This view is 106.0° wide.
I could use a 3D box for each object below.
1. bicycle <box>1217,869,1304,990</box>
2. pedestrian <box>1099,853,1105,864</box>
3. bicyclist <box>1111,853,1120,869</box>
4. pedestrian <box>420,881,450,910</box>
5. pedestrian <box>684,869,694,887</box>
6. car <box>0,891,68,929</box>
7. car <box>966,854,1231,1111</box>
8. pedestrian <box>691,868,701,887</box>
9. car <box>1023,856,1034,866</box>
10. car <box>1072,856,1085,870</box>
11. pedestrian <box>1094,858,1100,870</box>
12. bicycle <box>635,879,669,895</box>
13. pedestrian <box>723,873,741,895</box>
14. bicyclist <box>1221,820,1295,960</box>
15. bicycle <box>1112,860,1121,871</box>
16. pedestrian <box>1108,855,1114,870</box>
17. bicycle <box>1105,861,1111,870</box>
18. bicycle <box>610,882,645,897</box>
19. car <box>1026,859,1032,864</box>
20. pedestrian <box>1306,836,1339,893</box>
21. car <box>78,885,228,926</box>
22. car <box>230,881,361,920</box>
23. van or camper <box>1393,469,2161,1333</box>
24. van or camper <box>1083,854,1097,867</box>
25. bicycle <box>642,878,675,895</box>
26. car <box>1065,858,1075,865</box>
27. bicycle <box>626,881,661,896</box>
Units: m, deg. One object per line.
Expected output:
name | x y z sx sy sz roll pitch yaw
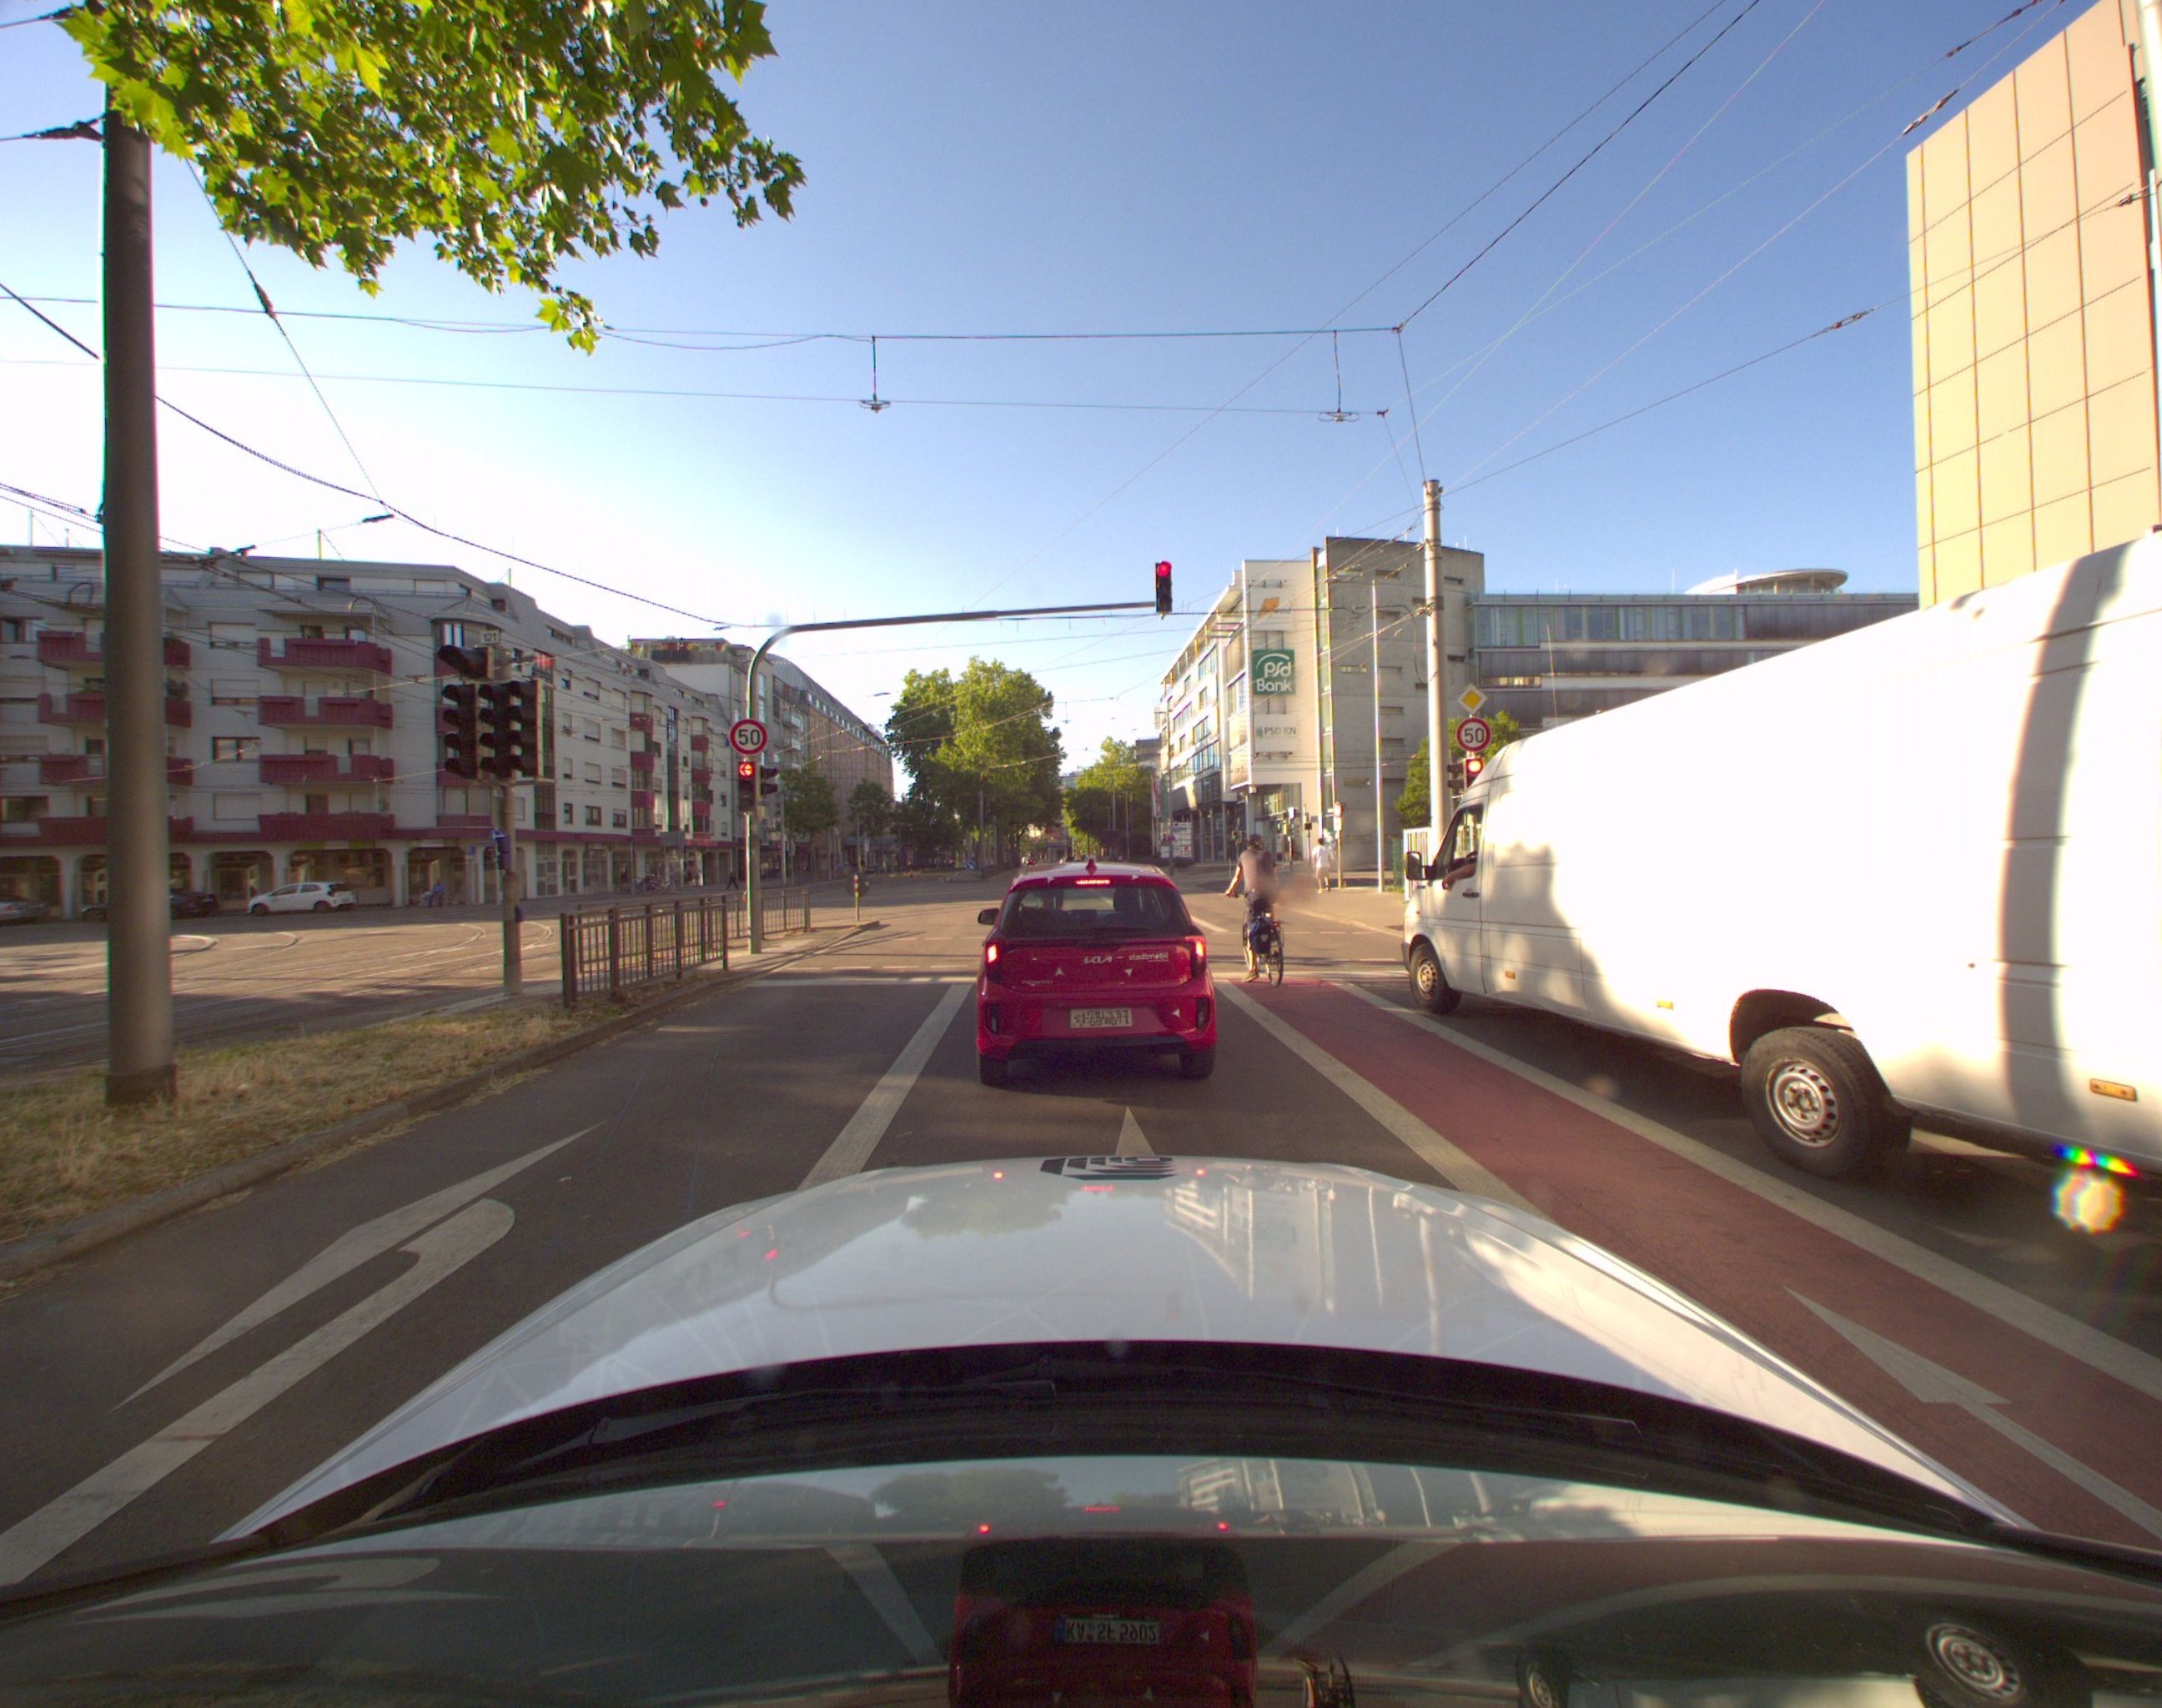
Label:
bicycle | 2.145 0.852 9.984 0.647 1.281 1.967 -2 0 2
pedestrian | 3.436 0.756 131.150 0.888 1.753 0.841 -2 0 1
bicyclist | 3.660 0.737 85.779 0.720 1.603 1.087 -4 0 -4
pedestrian | -32.441 2.052 40.901 0.857 1.384 0.833 -2 0 -14
pedestrian | -31.754 1.937 65.925 0.533 1.494 0.586 -2 0 -6
car | -48.595 2.545 35.945 4.572 1.555 1.992 -2 0 -12
car | 0.036 0.784 6.702 1.609 1.535 3.408 -1 0 -3
pedestrian | -31.180 1.933 66.008 0.533 1.494 0.586 -2 0 -6
car | -11.348 1.577 175.997 1.991 2.013 3.992 -2 0 -6
car | -0.315 1.148 105.143 1.631 1.800 3.328 -2 0 -1
pedestrian | 2.246 1.349 113.059 0.638 1.579 0.725 -5 0 11
bicycle | -27.791 2.149 52.819 1.840 0.985 0.552 -2 0 -6
pedestrian | -25.340 2.148 59.139 1.036 1.544 0.699 -2 0 27
bicyclist | 2.135 0.419 9.963 0.647 1.603 1.089 -2 0 2
bicycle | 3.706 1.191 85.857 0.695 1.098 1.748 -5 0 -4
pedestrian | 3.532 0.996 95.991 0.644 1.680 0.651 -2 0 1
bicycle | 3.204 1.316 95.880 0.518 0.975 2.203 -5 0 3
bicycle | -28.258 2.210 50.788 1.837 0.854 0.553 -2 0 -1
car | -16.316 2.301 256.520 1.776 1.535 3.403 -1 0 -8
pedestrian | 8.044 0.334 27.173 0.773 1.823 1.218 -2 0 6
car | -42.421 2.322 37.345 4.112 1.555 1.992 -2 0 -12
car | -37.165 2.174 38.647 3.989 1.555 1.992 -2 0 -12
van or camper | 4.324 0.146 5.395 1.963 2.716 6.301 -1 0 -1
van or camper | 1.459 1.049 132.471 1.988 1.989 4.741 -1 0 -2
bicycle | -27.703 2.135 53.433 1.840 0.985 0.552 -2 0 -6
car | -2.335 1.521 171.204 1.776 1.535 3.503 -1 0 -8
bicycle | -27.697 2.180 51.550 1.837 0.854 0.553 -2 0 -1
